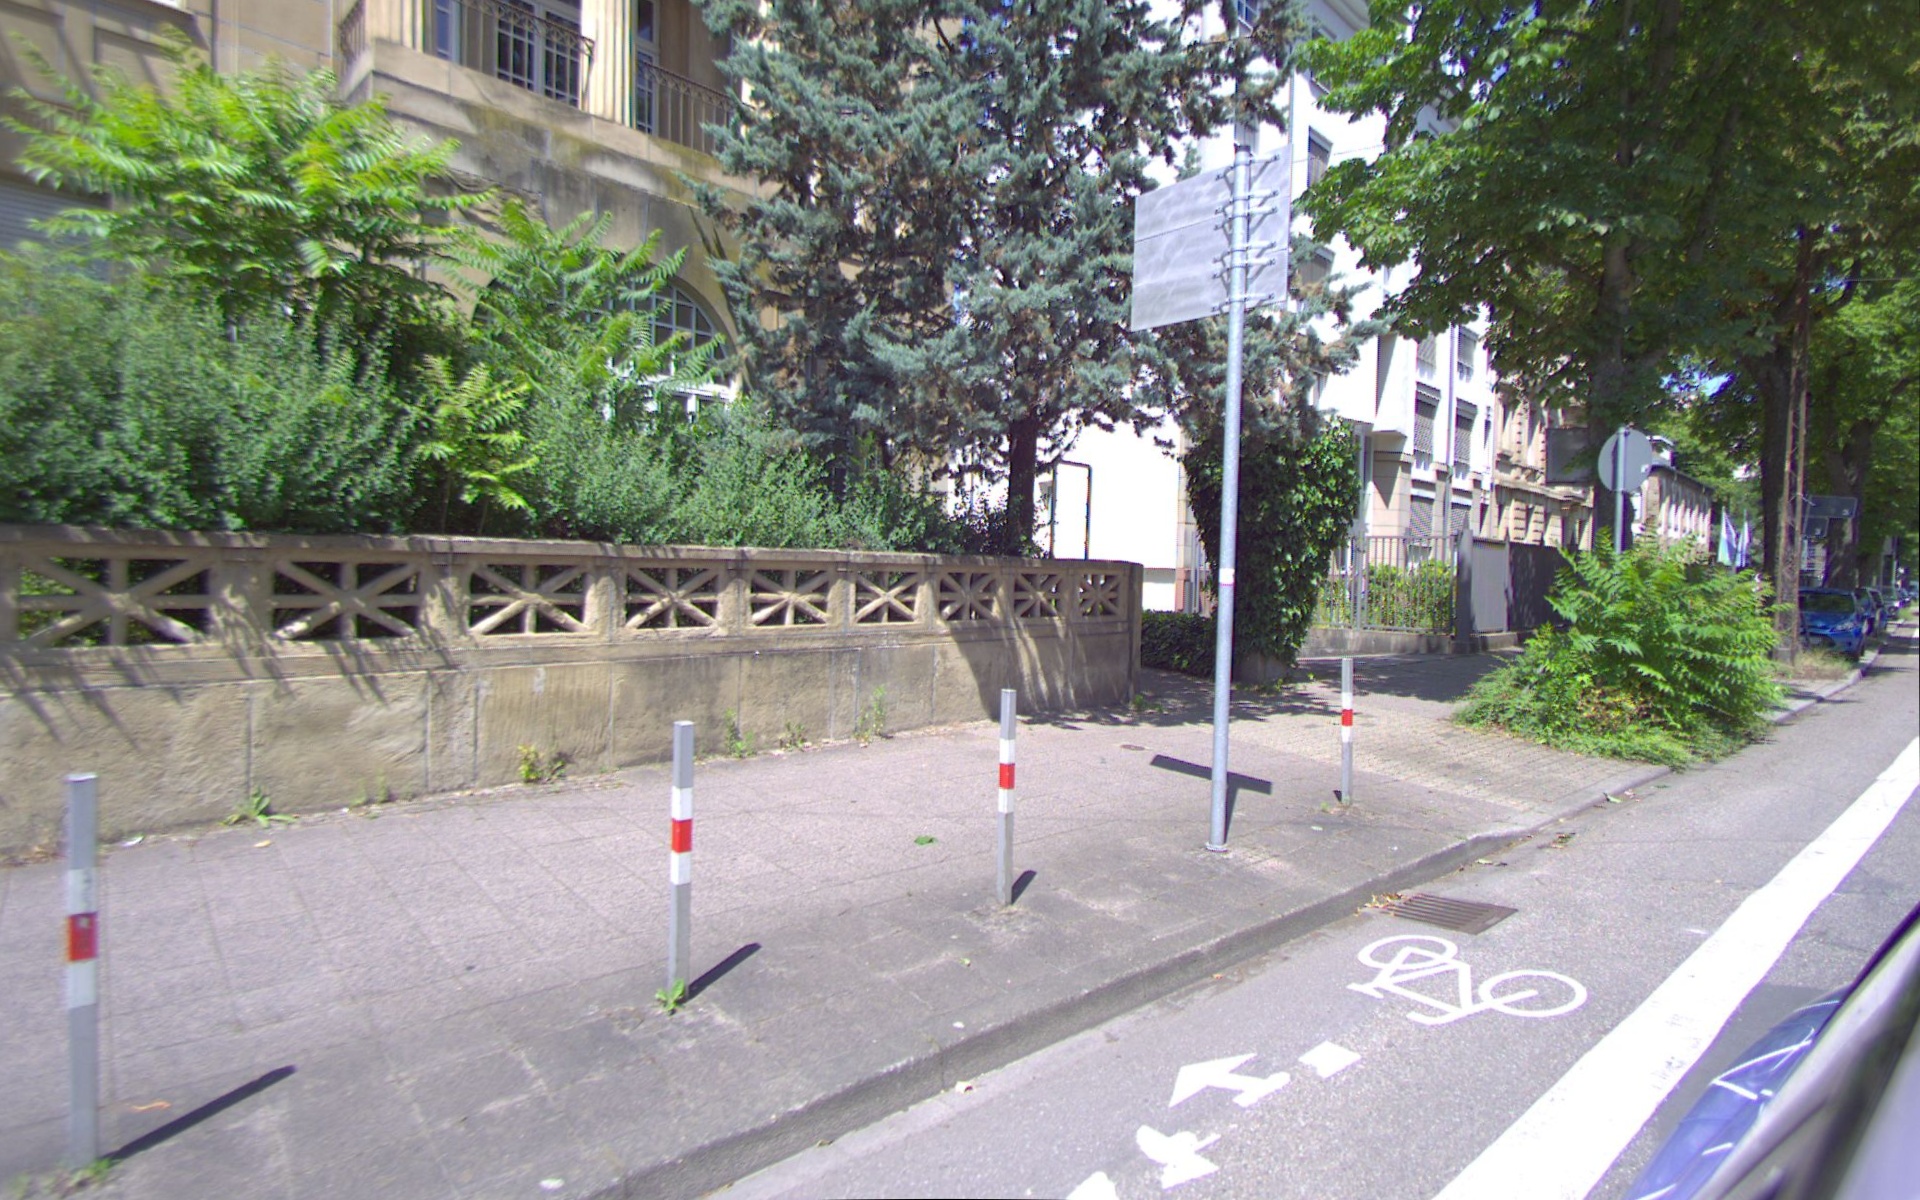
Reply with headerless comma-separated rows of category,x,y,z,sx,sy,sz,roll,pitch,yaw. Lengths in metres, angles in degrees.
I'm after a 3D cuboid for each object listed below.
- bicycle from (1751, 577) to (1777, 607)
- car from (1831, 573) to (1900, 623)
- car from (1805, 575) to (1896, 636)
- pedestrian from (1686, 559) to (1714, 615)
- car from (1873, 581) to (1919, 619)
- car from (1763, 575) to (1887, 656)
bicycle,34.861,-0.375,43.863,0.687,1.239,2.086,2,3,44
car,31.476,-0.119,35.158,1.611,1.514,3.528,5,6,43
car,25.580,0.093,29.032,1.679,1.514,3.857,5,5,44
pedestrian,22.902,-0.408,31.331,0.546,1.713,0.743,4,4,44
car,44.150,-0.017,47.578,1.644,1.616,4.050,5,4,43
car,18.787,0.262,21.931,1.685,1.479,3.936,5,5,45
